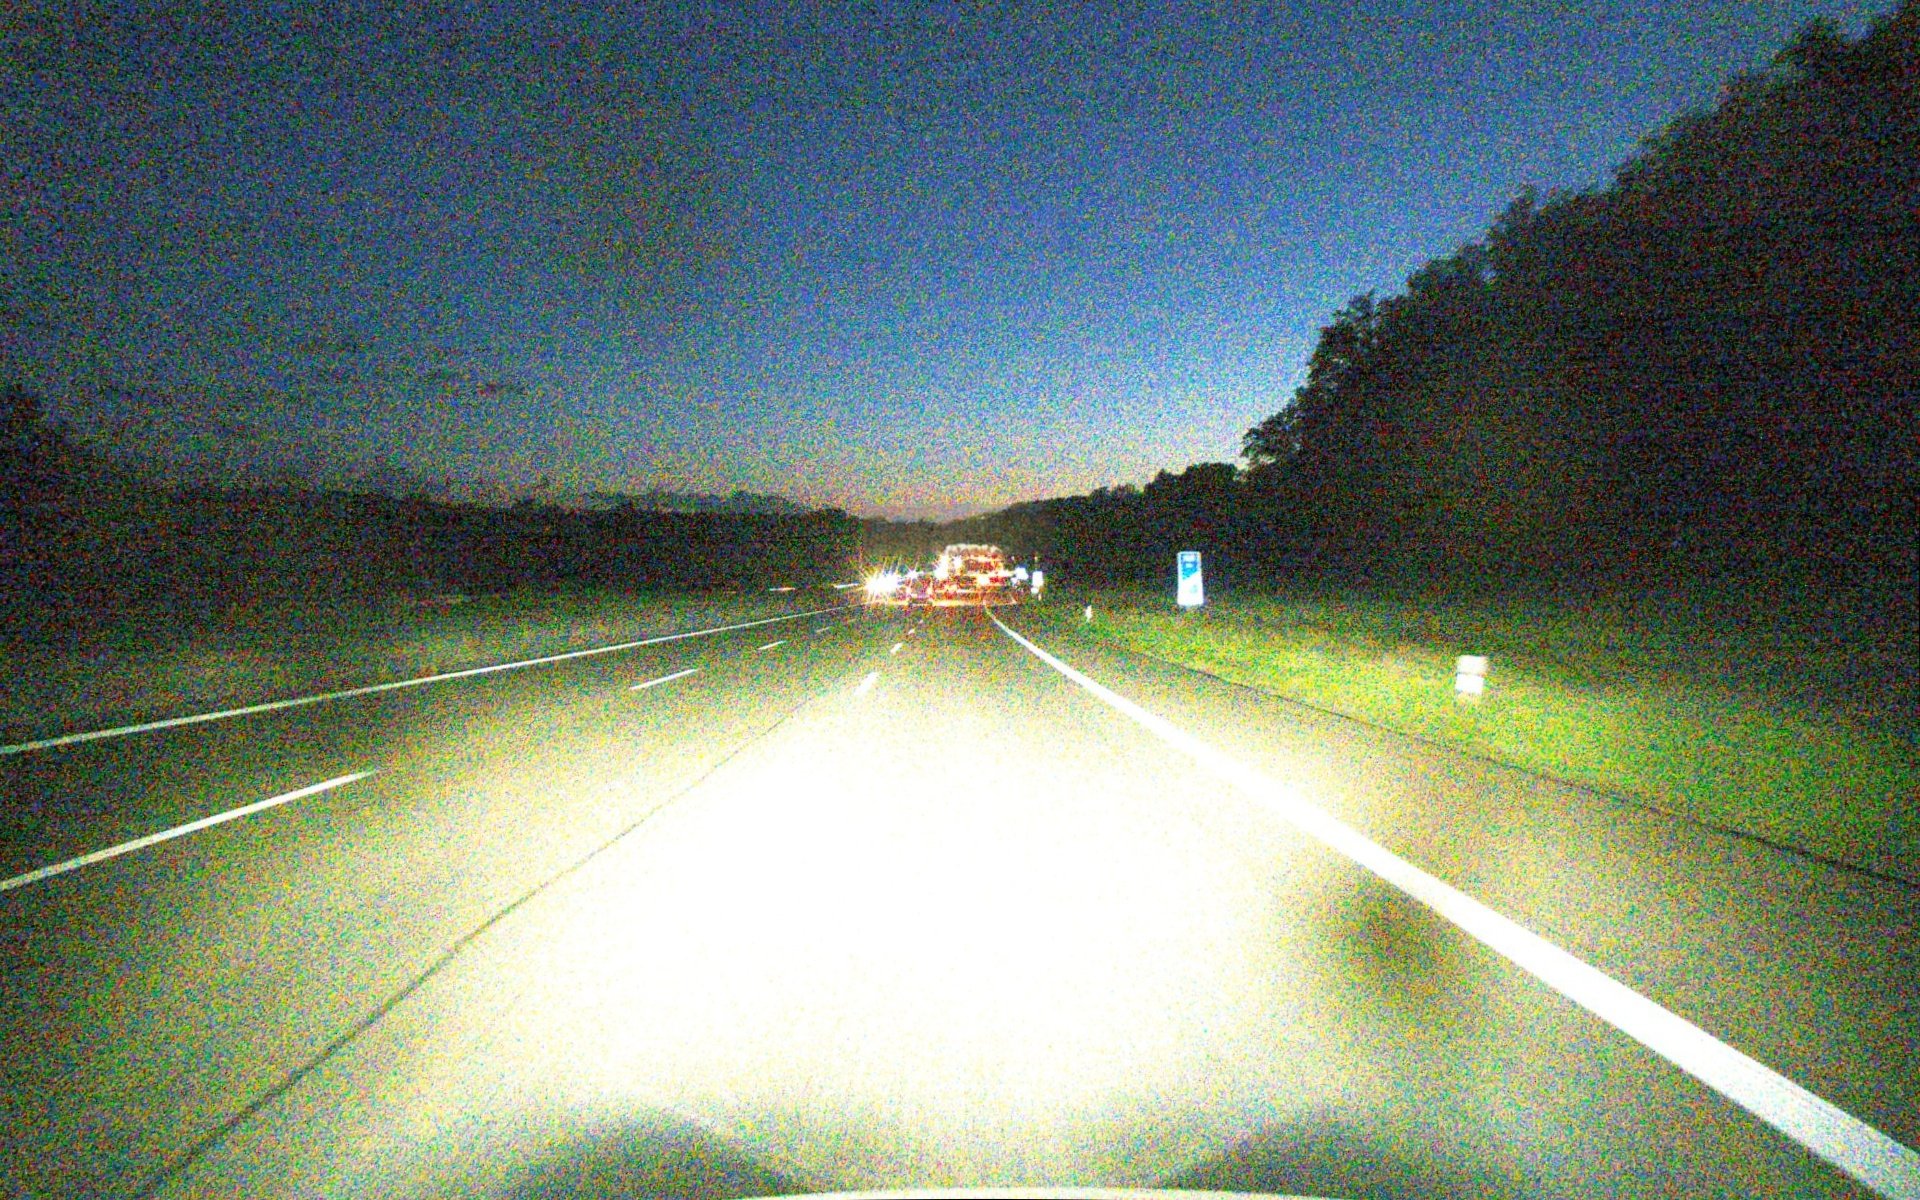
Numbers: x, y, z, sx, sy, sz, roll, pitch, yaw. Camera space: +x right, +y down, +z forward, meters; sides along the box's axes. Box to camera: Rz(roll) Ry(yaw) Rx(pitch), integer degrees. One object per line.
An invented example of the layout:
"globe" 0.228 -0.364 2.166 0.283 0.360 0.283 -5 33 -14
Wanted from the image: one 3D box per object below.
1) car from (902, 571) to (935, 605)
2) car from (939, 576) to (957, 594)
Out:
"car" -3.489 -1.010 139.461 2.730 2.781 6.297 0 0 -1
"car" -1.944 -2.297 260.743 2.730 2.781 6.297 0 0 -2
